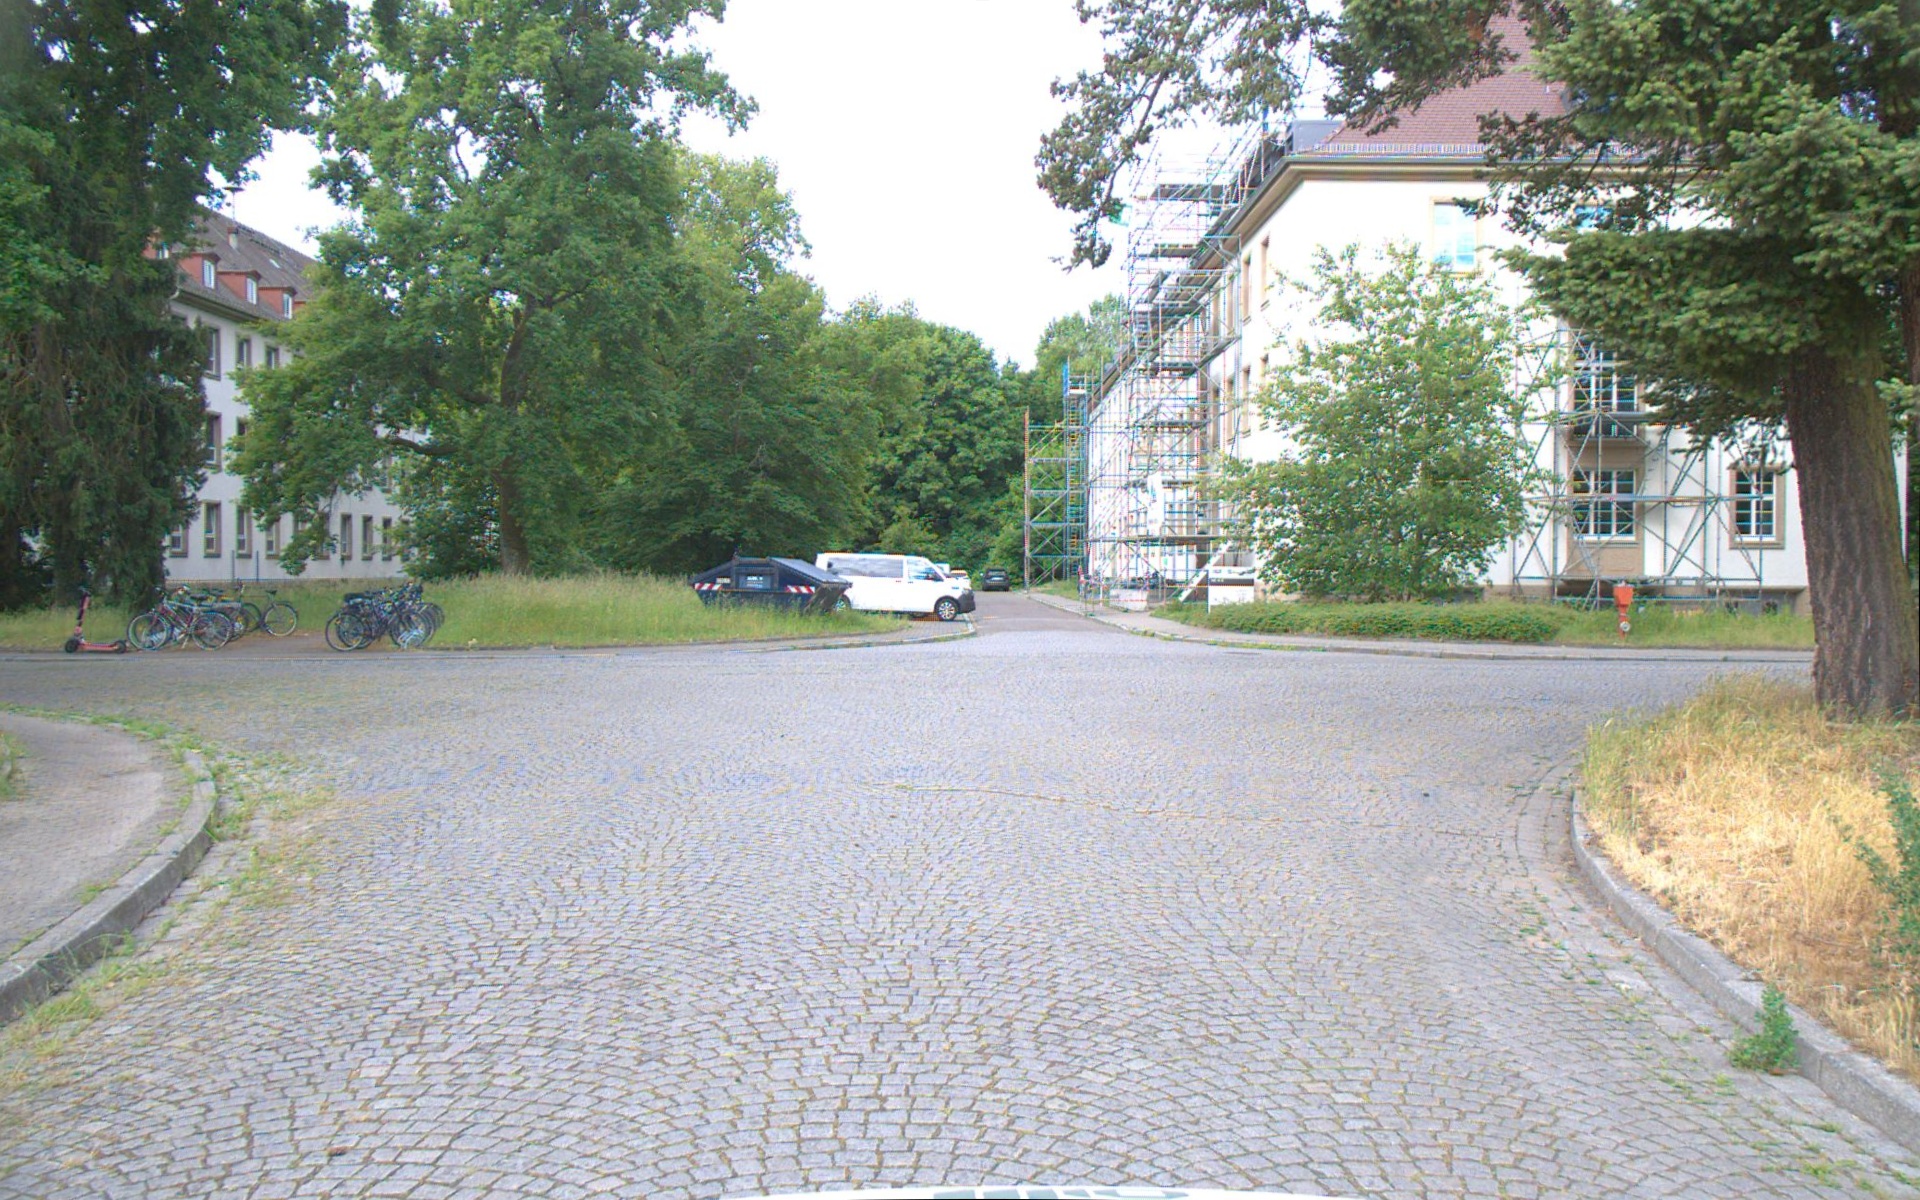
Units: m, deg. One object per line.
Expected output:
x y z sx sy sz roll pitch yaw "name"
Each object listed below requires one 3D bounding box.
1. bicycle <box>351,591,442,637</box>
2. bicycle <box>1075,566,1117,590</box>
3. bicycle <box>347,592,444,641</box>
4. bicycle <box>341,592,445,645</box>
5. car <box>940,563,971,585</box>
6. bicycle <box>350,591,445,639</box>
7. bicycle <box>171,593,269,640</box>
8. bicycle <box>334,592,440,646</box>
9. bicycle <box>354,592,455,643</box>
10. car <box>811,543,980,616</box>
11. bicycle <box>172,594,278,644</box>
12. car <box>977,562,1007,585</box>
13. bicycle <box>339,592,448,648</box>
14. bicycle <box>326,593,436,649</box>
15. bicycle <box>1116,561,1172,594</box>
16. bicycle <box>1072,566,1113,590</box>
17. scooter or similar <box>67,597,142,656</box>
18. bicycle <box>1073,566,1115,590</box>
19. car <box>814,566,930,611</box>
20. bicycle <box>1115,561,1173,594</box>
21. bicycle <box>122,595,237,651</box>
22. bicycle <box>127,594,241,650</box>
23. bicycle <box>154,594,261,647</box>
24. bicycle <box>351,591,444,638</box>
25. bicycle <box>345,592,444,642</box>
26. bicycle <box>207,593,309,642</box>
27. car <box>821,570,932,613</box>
-12.873 0.316 37.792 1.931 1.006 0.622 -1 1 -24 "bicycle"
7.242 -1.175 88.335 2.194 1.276 0.627 0 1 1 "bicycle"
-12.071 0.337 35.386 1.931 1.006 0.622 -1 1 -24 "bicycle"
-11.383 0.357 33.211 1.931 1.006 0.622 -1 1 -24 "bicycle"
-0.341 -1.862 117.484 2.076 1.548 3.999 0 1 -2 "car"
-12.415 0.327 36.508 1.931 1.006 0.622 -1 1 -24 "bicycle"
-16.616 0.364 37.167 1.927 1.006 0.624 -1 1 -18 "bicycle"
-11.279 0.364 32.587 1.931 1.006 0.622 -1 1 -24 "bicycle"
-11.444 0.347 34.086 1.931 1.006 0.622 -1 1 -24 "bicycle"
-2.002 -0.660 51.470 5.130 2.205 1.999 0 1 -3 "car"
-15.432 0.383 34.748 1.922 1.006 0.625 -1 1 -11 "bicycle"
2.280 -1.895 117.816 1.912 1.548 3.999 0 1 -2 "car"
-10.823 0.371 31.621 1.931 1.006 0.622 -1 1 -24 "bicycle"
-10.842 0.379 30.996 1.930 1.006 0.623 -1 1 -21 "bicycle"
7.379 -0.907 66.471 2.194 1.276 0.778 0 1 1 "bicycle"
7.241 -1.201 90.368 2.194 1.276 0.634 0 1 1 "bicycle"
-15.697 0.481 30.354 1.321 1.056 0.453 0 1 21 "scooter or similar"
7.243 -1.190 89.524 2.194 1.276 0.698 0 1 1 "bicycle"
-2.870 -0.392 54.055 3.713 1.419 1.999 0 1 -3 "car"
7.191 -0.881 64.557 2.194 1.276 0.778 0 1 1 "bicycle"
-14.715 0.418 31.212 1.935 1.006 0.621 -1 1 -28 "bicycle"
-14.848 0.414 31.699 1.931 1.006 0.622 -1 1 -24 "bicycle"
-15.191 0.396 33.403 1.935 1.006 0.621 -1 1 -28 "bicycle"
-12.615 0.322 37.074 1.931 1.006 0.622 -1 1 -24 "bicycle"
-11.890 0.343 34.806 1.931 1.006 0.622 -1 1 -24 "bicycle"
-15.165 0.366 35.760 1.922 1.006 0.625 -1 1 -11 "bicycle"
-2.839 -0.294 56.590 3.712 1.419 1.999 0 1 -2 "car"
